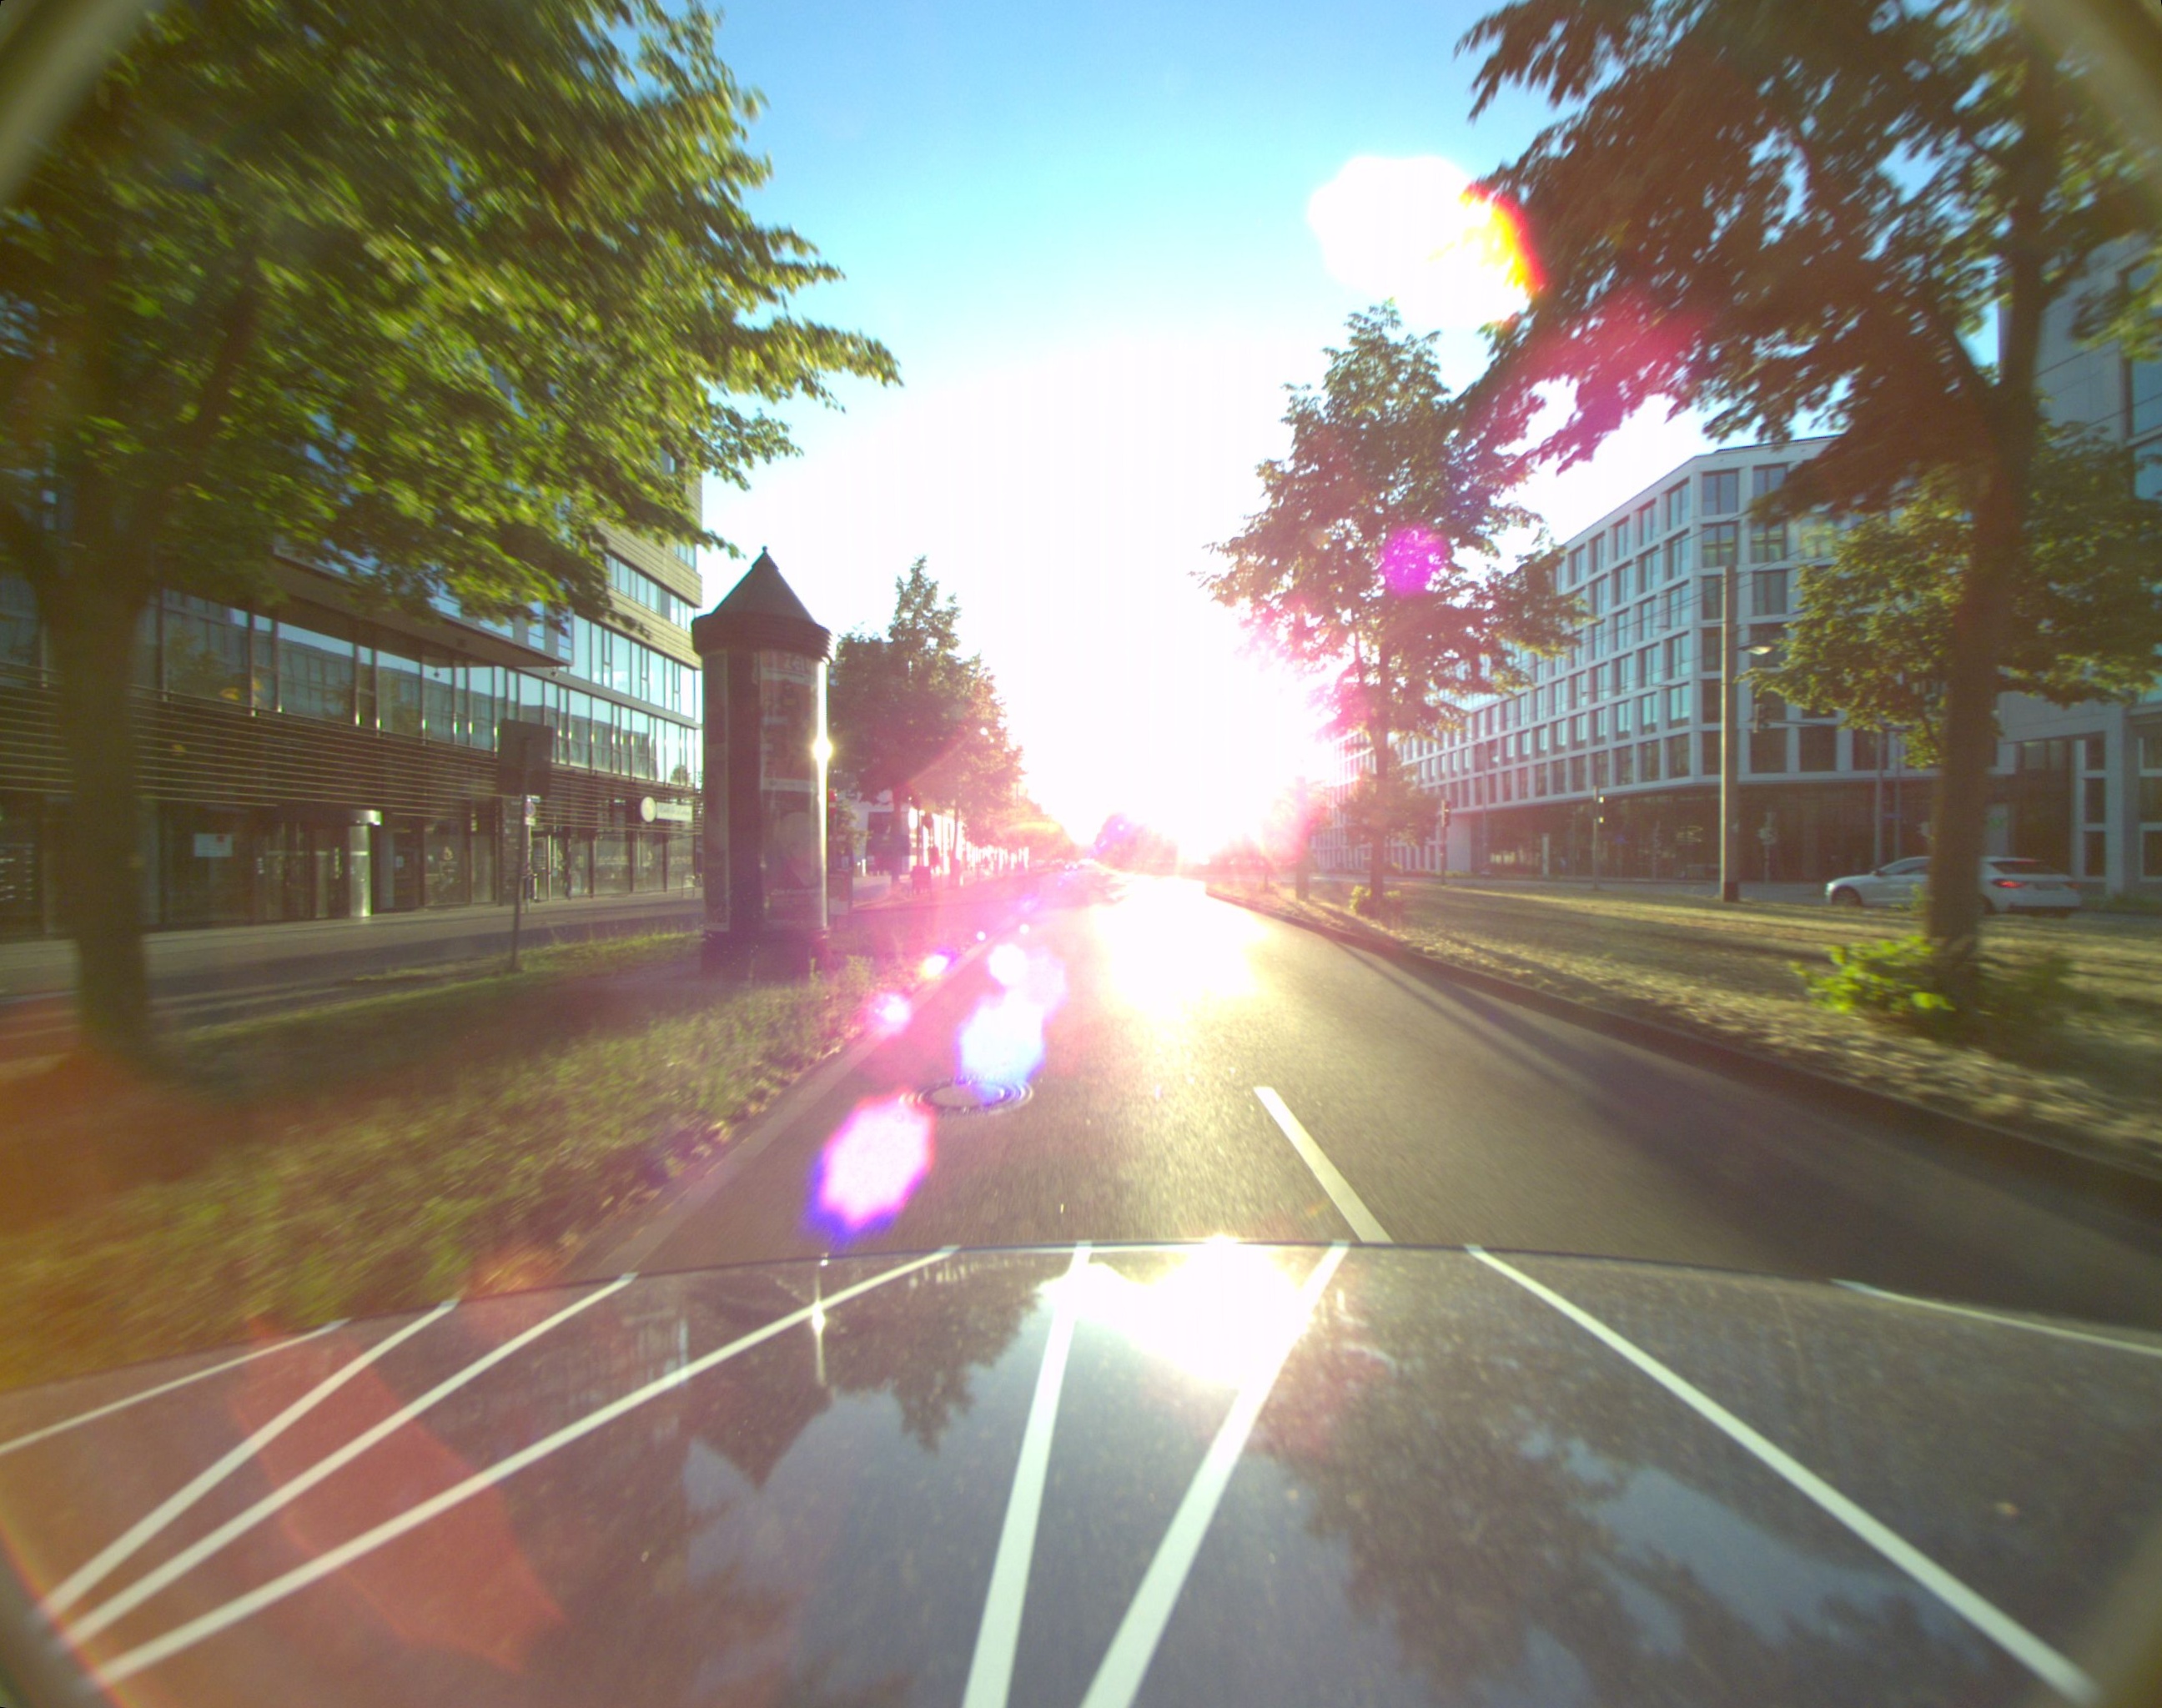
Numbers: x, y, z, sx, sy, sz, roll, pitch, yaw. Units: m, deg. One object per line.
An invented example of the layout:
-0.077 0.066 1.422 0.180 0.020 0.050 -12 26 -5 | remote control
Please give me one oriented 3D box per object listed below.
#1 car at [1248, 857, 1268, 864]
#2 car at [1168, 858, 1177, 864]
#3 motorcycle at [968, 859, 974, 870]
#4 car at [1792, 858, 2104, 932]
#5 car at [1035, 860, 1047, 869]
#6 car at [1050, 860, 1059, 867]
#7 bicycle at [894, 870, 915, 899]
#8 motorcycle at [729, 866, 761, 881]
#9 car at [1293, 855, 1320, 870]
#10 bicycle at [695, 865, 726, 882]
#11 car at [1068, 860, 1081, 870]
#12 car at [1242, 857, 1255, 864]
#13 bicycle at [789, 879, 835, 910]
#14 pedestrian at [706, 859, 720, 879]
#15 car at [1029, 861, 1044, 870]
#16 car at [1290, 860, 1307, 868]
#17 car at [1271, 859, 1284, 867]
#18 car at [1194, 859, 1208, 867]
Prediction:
40.473 1.493 174.207 4.083 1.730 2.000 0 0 -2 | car
21.704 1.762 180.745 1.649 1.394 4.000 0 -1 -1 | car
-17.224 1.576 119.128 0.690 1.689 2.123 0 0 0 | motorcycle
19.616 0.835 17.610 1.907 1.477 4.630 0 0 -1 | car
-7.278 1.884 138.427 1.998 1.594 4.000 0 0 0 | car
-6.528 2.344 189.335 1.998 1.594 4.000 0 0 0 | car
-6.470 1.101 27.951 0.581 0.989 1.686 0 0 -7 | bicycle
-24.770 1.431 55.997 0.732 1.037 2.694 -1 0 11 | motorcycle
23.281 0.880 78.564 1.645 1.440 4.000 0 0 0 | car
-27.999 1.465 57.467 0.732 1.229 2.452 -1 0 11 | bicycle
-0.954 1.758 121.267 1.998 1.473 4.335 0 -1 0 | car
39.595 1.490 179.892 1.998 1.730 4.611 0 -1 0 | car
-8.253 1.213 23.263 1.718 0.905 0.363 -1 0 34 | bicycle
-33.695 1.383 69.662 0.898 1.833 0.838 0 0 -6 | pedestrian
-7.035 1.823 120.128 1.998 1.455 4.000 0 -1 0 | car
37.790 1.690 132.016 1.763 1.394 4.000 0 -1 -1 | car
40.313 1.846 155.819 1.997 1.583 4.338 -1 -1 7 | car
22.534 1.709 142.914 1.998 1.426 4.898 0 0 0 | car
